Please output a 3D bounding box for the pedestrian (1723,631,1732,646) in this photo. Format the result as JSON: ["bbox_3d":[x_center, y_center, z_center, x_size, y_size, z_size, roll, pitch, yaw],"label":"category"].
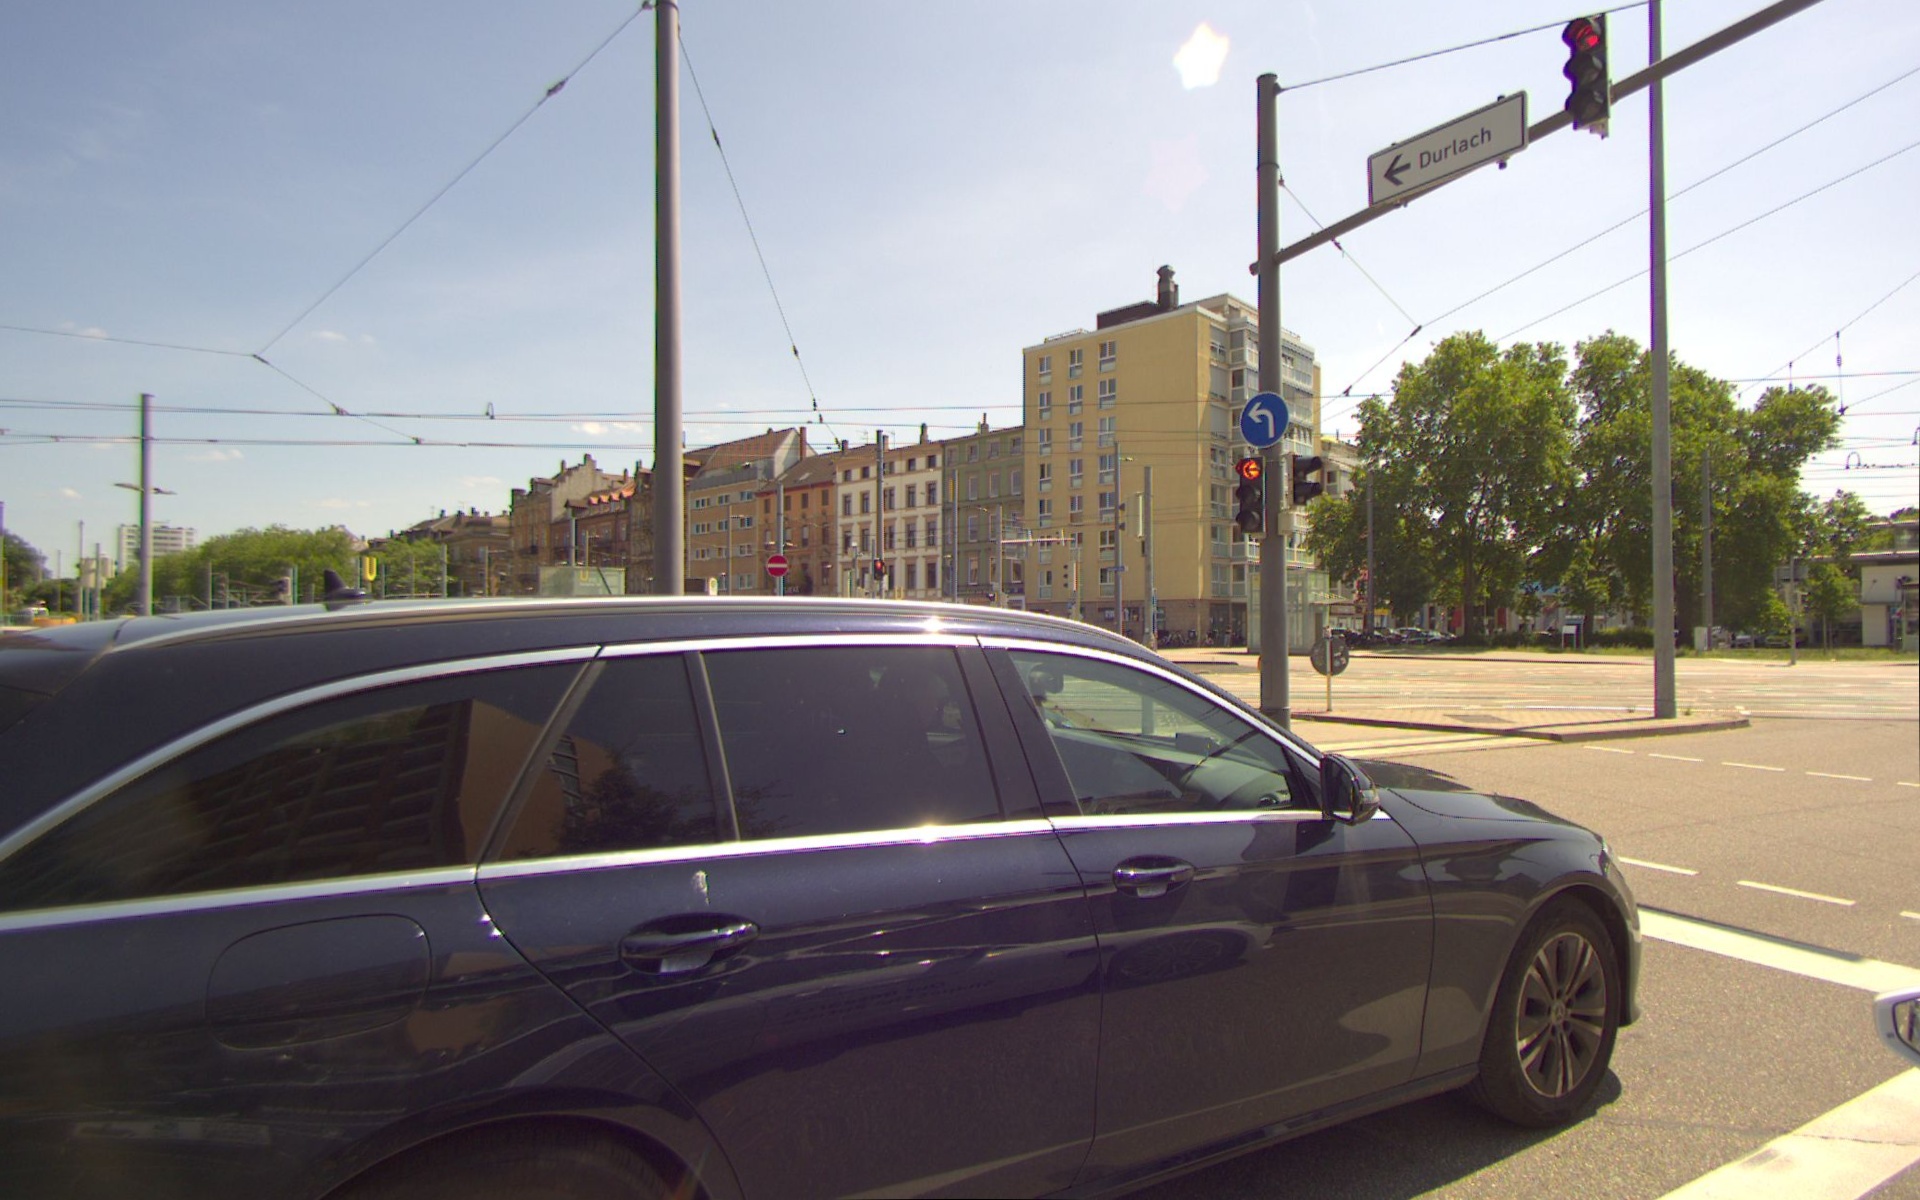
[{"bbox_3d":[64.906,3.273,84.948,0.439,1.220,0.511,1,-1,-24],"label":"pedestrian"}]

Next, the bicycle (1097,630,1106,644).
[{"bbox_3d":[10.245,2.667,72.568,0.424,1.040,1.445,0,-1,16],"label":"bicycle"}]

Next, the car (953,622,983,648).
[{"bbox_3d":[0.557,2.448,70.515,1.803,1.773,3.998,0,-1,-4],"label":"car"}]

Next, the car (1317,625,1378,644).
[{"bbox_3d":[29.432,2.611,76.288,3.939,1.439,1.991,-1,-2,39],"label":"car"}]

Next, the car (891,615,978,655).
[{"bbox_3d":[-1.409,1.865,54.065,1.987,2.084,4.807,1,-2,-44],"label":"car"}]

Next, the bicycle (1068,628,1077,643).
[{"bbox_3d":[8.357,2.617,74.346,0.424,1.040,1.445,0,-1,16],"label":"bicycle"}]

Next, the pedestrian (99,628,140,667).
[{"bbox_3d":[-29.508,1.669,35.266,0.978,1.352,0.527,0,-1,2],"label":"pedestrian"}]

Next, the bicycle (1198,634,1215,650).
[{"bbox_3d":[16.775,2.849,68.288,0.427,1.040,1.435,-1,-2,44],"label":"bicycle"}]

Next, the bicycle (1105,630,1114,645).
[{"bbox_3d":[10.763,2.681,72.309,0.424,1.040,1.445,0,-1,16],"label":"bicycle"}]

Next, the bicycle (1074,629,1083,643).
[{"bbox_3d":[8.699,2.626,74.007,0.424,1.040,1.445,0,-1,16],"label":"bicycle"}]

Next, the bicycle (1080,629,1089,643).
[{"bbox_3d":[9.126,2.637,73.570,0.424,1.040,1.445,0,-1,16],"label":"bicycle"}]

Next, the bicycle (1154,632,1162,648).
[{"bbox_3d":[13.617,2.753,69.133,0.424,1.040,1.445,0,-1,16],"label":"bicycle"}]

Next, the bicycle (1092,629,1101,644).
[{"bbox_3d":[9.929,2.659,72.965,0.424,1.040,1.445,0,-1,16],"label":"bicycle"}]

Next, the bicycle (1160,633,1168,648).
[{"bbox_3d":[13.991,2.763,68.822,0.424,1.040,1.445,0,-1,16],"label":"bicycle"}]

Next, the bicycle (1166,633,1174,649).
[{"bbox_3d":[14.361,2.774,68.557,0.424,1.040,1.445,0,-1,16],"label":"bicycle"}]

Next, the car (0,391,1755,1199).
[{"bbox_3d":[0.053,0.619,2.834,4.747,1.662,1.789,1,0,-30],"label":"car"}]

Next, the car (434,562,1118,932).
[{"bbox_3d":[-1.044,0.681,6.026,3.692,1.597,1.736,1,-2,-30],"label":"car"}]

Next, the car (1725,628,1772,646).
[{"bbox_3d":[68.326,3.222,87.041,4.274,1.530,1.759,1,-2,-29],"label":"car"}]

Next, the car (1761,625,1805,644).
[{"bbox_3d":[69.176,2.900,84.451,4.283,1.530,1.756,1,-2,-35],"label":"car"}]

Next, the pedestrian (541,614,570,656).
[{"bbox_3d":[-17.702,1.519,43.937,1.114,1.837,0.677,-1,-2,38],"label":"pedestrian"}]

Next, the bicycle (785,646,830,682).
[{"bbox_3d":[-4.025,1.655,26.398,0.620,0.866,1.887,1,-2,-26],"label":"bicycle"}]

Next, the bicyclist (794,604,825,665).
[{"bbox_3d":[-3.969,0.888,26.445,0.433,1.549,1.245,2,0,-26],"label":"bicyclist"}]

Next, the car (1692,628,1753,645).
[{"bbox_3d":[71.062,3.386,93.699,4.245,1.530,1.771,-1,-2,26],"label":"car"}]

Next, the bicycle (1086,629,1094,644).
[{"bbox_3d":[9.488,2.647,73.262,0.424,1.040,1.445,0,-1,16],"label":"bicycle"}]

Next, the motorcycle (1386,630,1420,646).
[{"bbox_3d":[27.946,2.376,63.370,1.887,0.974,0.524,-1,-1,31],"label":"motorcycle"}]
